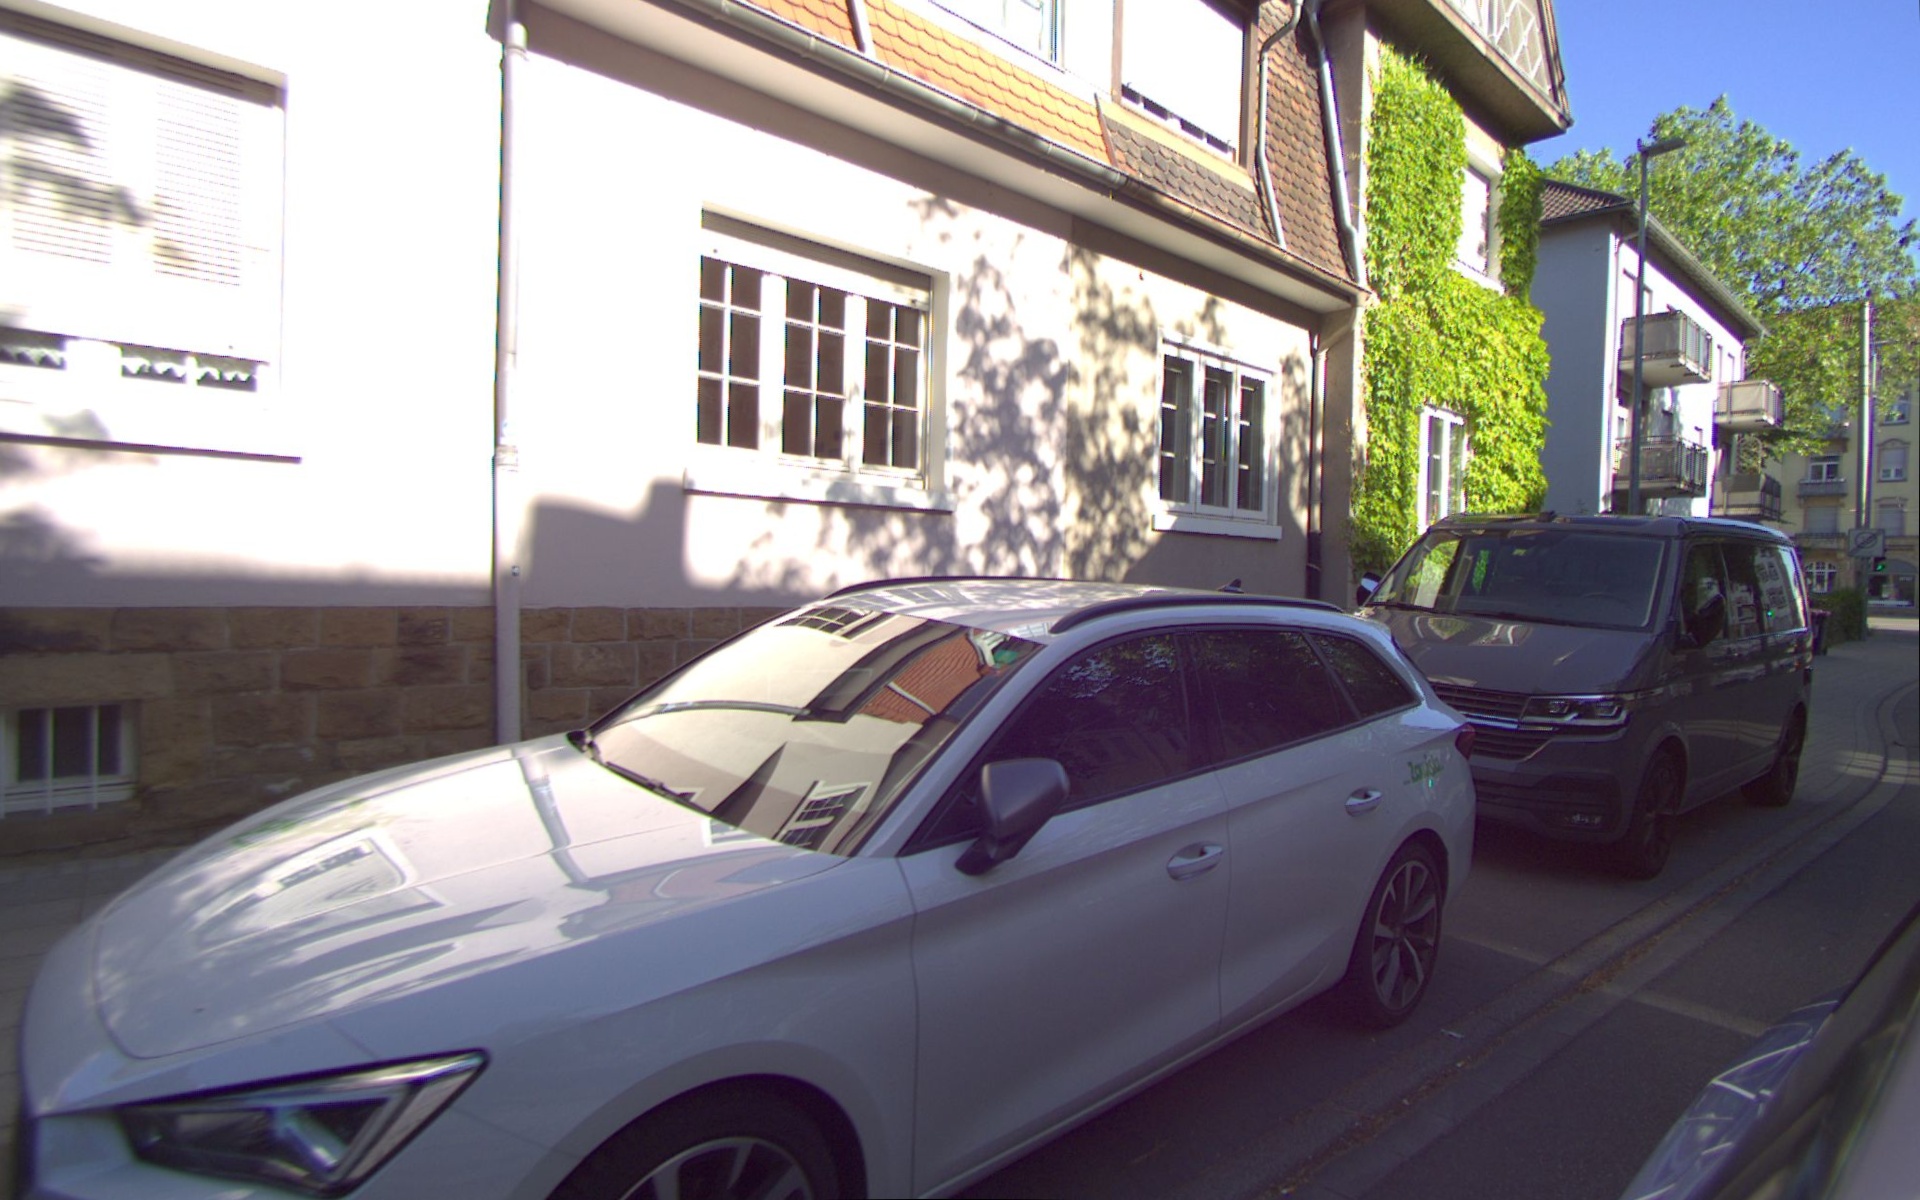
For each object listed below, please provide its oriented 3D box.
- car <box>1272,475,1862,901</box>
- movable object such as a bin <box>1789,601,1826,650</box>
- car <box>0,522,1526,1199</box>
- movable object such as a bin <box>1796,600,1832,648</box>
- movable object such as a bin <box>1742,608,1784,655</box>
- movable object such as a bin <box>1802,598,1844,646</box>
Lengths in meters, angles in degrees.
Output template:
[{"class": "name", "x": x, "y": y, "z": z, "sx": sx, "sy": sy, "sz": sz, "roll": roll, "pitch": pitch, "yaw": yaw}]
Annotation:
[{"class": "car", "x": 4.299, "y": 0.340, "z": 6.813, "sx": 4.697, "sy": 1.939, "sz": 1.870, "roll": 0, "pitch": 4, "yaw": -40}, {"class": "movable object such as a bin", "x": 19.318, "y": 0.570, "z": 23.071, "sx": 0.608, "sy": 1.056, "sz": 0.484, "roll": 0, "pitch": 5, "yaw": -42}, {"class": "car", "x": 0.030, "y": 0.611, "z": 3.124, "sx": 4.363, "sy": 1.475, "sz": 1.681, "roll": 0, "pitch": 3, "yaw": -43}, {"class": "movable object such as a bin", "x": 19.892, "y": 0.543, "z": 23.570, "sx": 0.645, "sy": 1.056, "sz": 0.484, "roll": 0, "pitch": 5, "yaw": -42}, {"class": "movable object such as a bin", "x": 16.834, "y": 0.654, "z": 21.215, "sx": 0.562, "sy": 0.926, "sz": 0.505, "roll": 0, "pitch": 5, "yaw": -38}, {"class": "movable object such as a bin", "x": 20.531, "y": 0.519, "z": 24.084, "sx": 0.695, "sy": 1.056, "sz": 0.598, "roll": 0, "pitch": 5, "yaw": -42}]
